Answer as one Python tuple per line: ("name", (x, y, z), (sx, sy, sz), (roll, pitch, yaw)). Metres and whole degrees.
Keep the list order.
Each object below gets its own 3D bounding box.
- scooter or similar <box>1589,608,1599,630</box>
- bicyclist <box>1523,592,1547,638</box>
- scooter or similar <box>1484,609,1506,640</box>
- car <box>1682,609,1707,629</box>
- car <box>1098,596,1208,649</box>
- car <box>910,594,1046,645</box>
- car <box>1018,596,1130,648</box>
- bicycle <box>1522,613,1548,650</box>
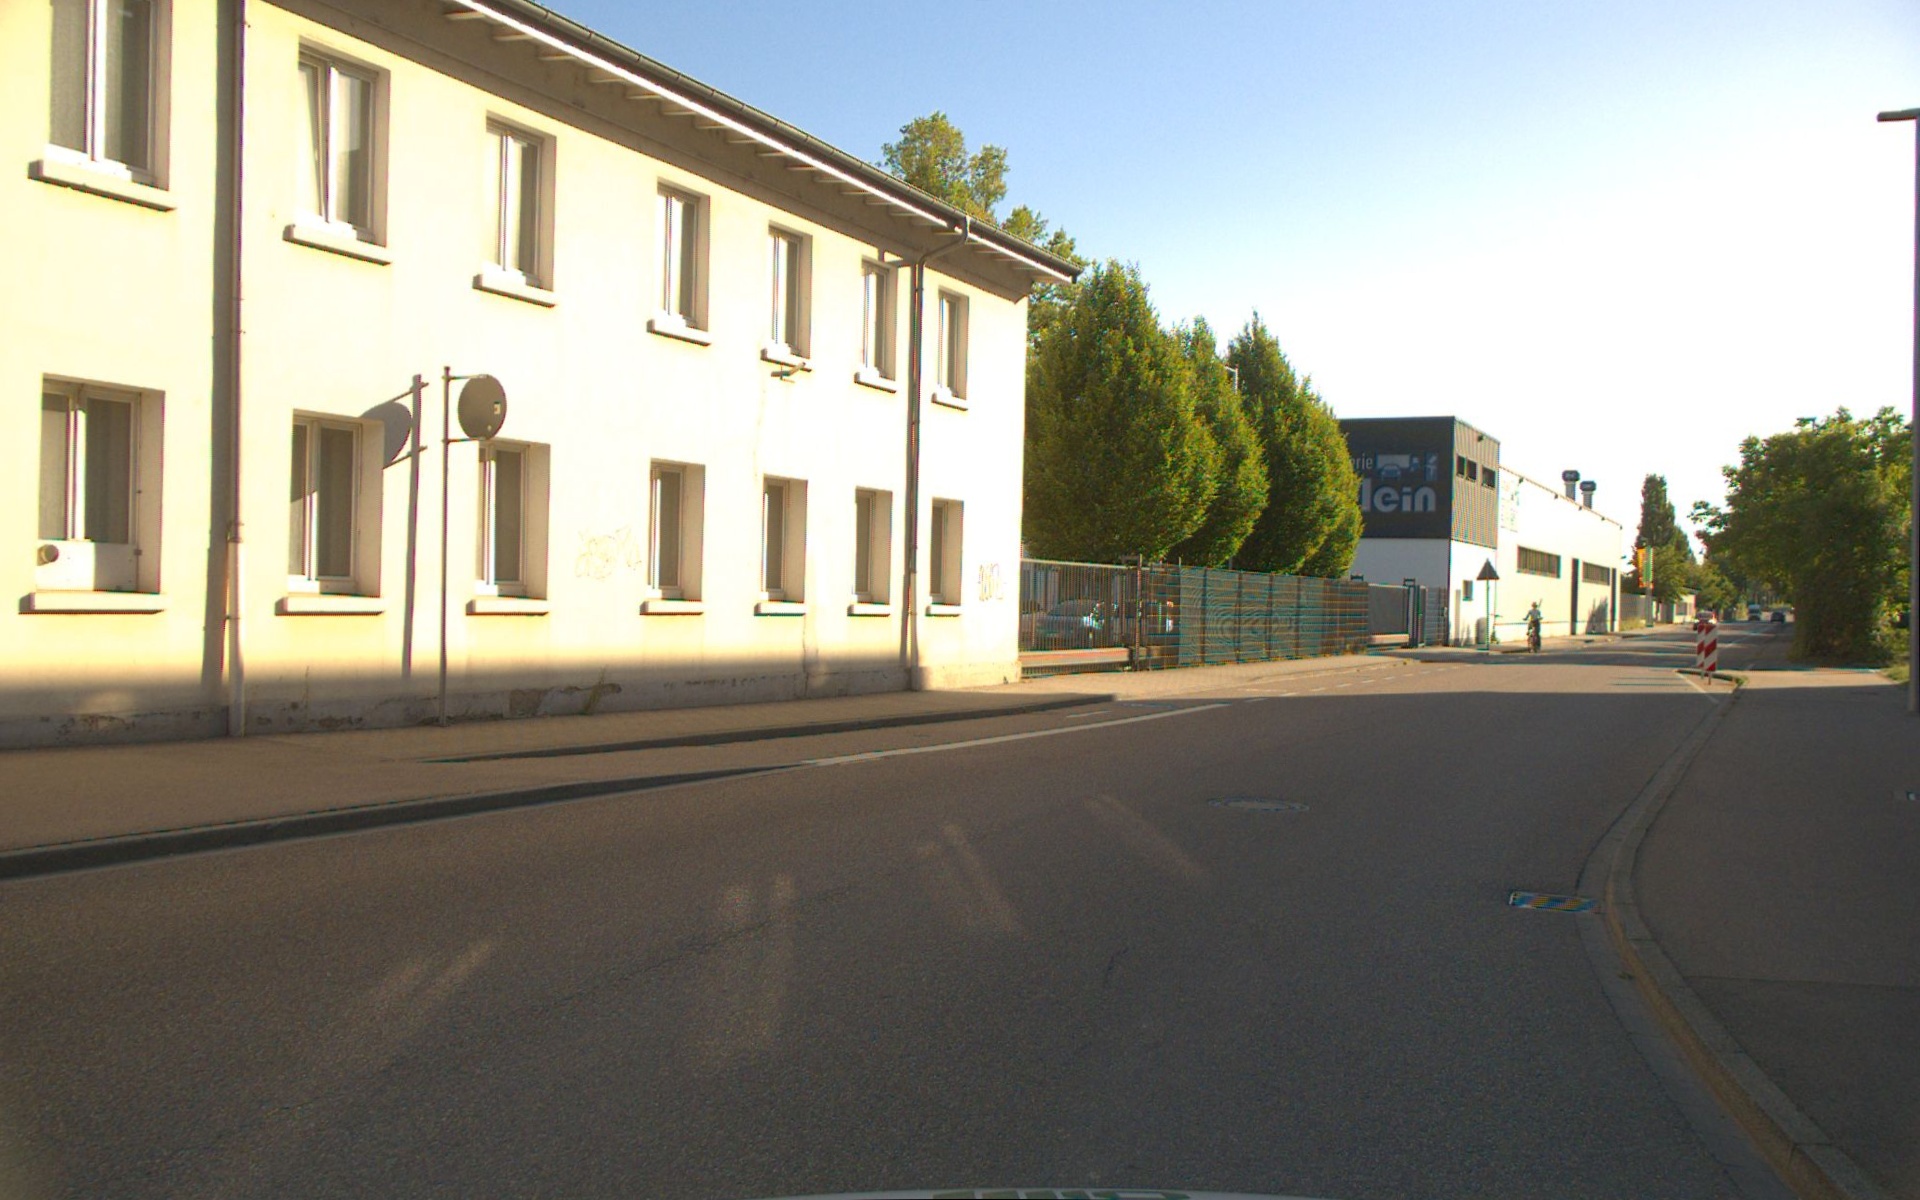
("scooter or similar", (37.670, 1.122, 98.254), (0.408, 1.289, 1.058), (1, 0, 27))
("bicyclist", (21.100, 0.551, 60.655), (0.731, 1.656, 0.833), (1, 0, 26))
("scooter or similar", (21.916, 0.998, 67.696), (0.497, 1.224, 1.751), (5, 1, 27))
("car", (61.725, 1.598, 138.936), (1.781, 1.515, 3.997), (-3, -2, 25))
("car", (5.803, 0.662, 49.429), (1.955, 1.477, 3.995), (1, 0, 28))
("car", (0.564, 0.615, 52.694), (3.911, 1.567, 1.873), (0, 0, 28))
("car", (3.538, 0.652, 50.546), (1.955, 1.477, 3.995), (1, 0, 28))
("bicycle", (21.079, 1.155, 60.657), (0.654, 1.311, 2.170), (1, 0, 25))
